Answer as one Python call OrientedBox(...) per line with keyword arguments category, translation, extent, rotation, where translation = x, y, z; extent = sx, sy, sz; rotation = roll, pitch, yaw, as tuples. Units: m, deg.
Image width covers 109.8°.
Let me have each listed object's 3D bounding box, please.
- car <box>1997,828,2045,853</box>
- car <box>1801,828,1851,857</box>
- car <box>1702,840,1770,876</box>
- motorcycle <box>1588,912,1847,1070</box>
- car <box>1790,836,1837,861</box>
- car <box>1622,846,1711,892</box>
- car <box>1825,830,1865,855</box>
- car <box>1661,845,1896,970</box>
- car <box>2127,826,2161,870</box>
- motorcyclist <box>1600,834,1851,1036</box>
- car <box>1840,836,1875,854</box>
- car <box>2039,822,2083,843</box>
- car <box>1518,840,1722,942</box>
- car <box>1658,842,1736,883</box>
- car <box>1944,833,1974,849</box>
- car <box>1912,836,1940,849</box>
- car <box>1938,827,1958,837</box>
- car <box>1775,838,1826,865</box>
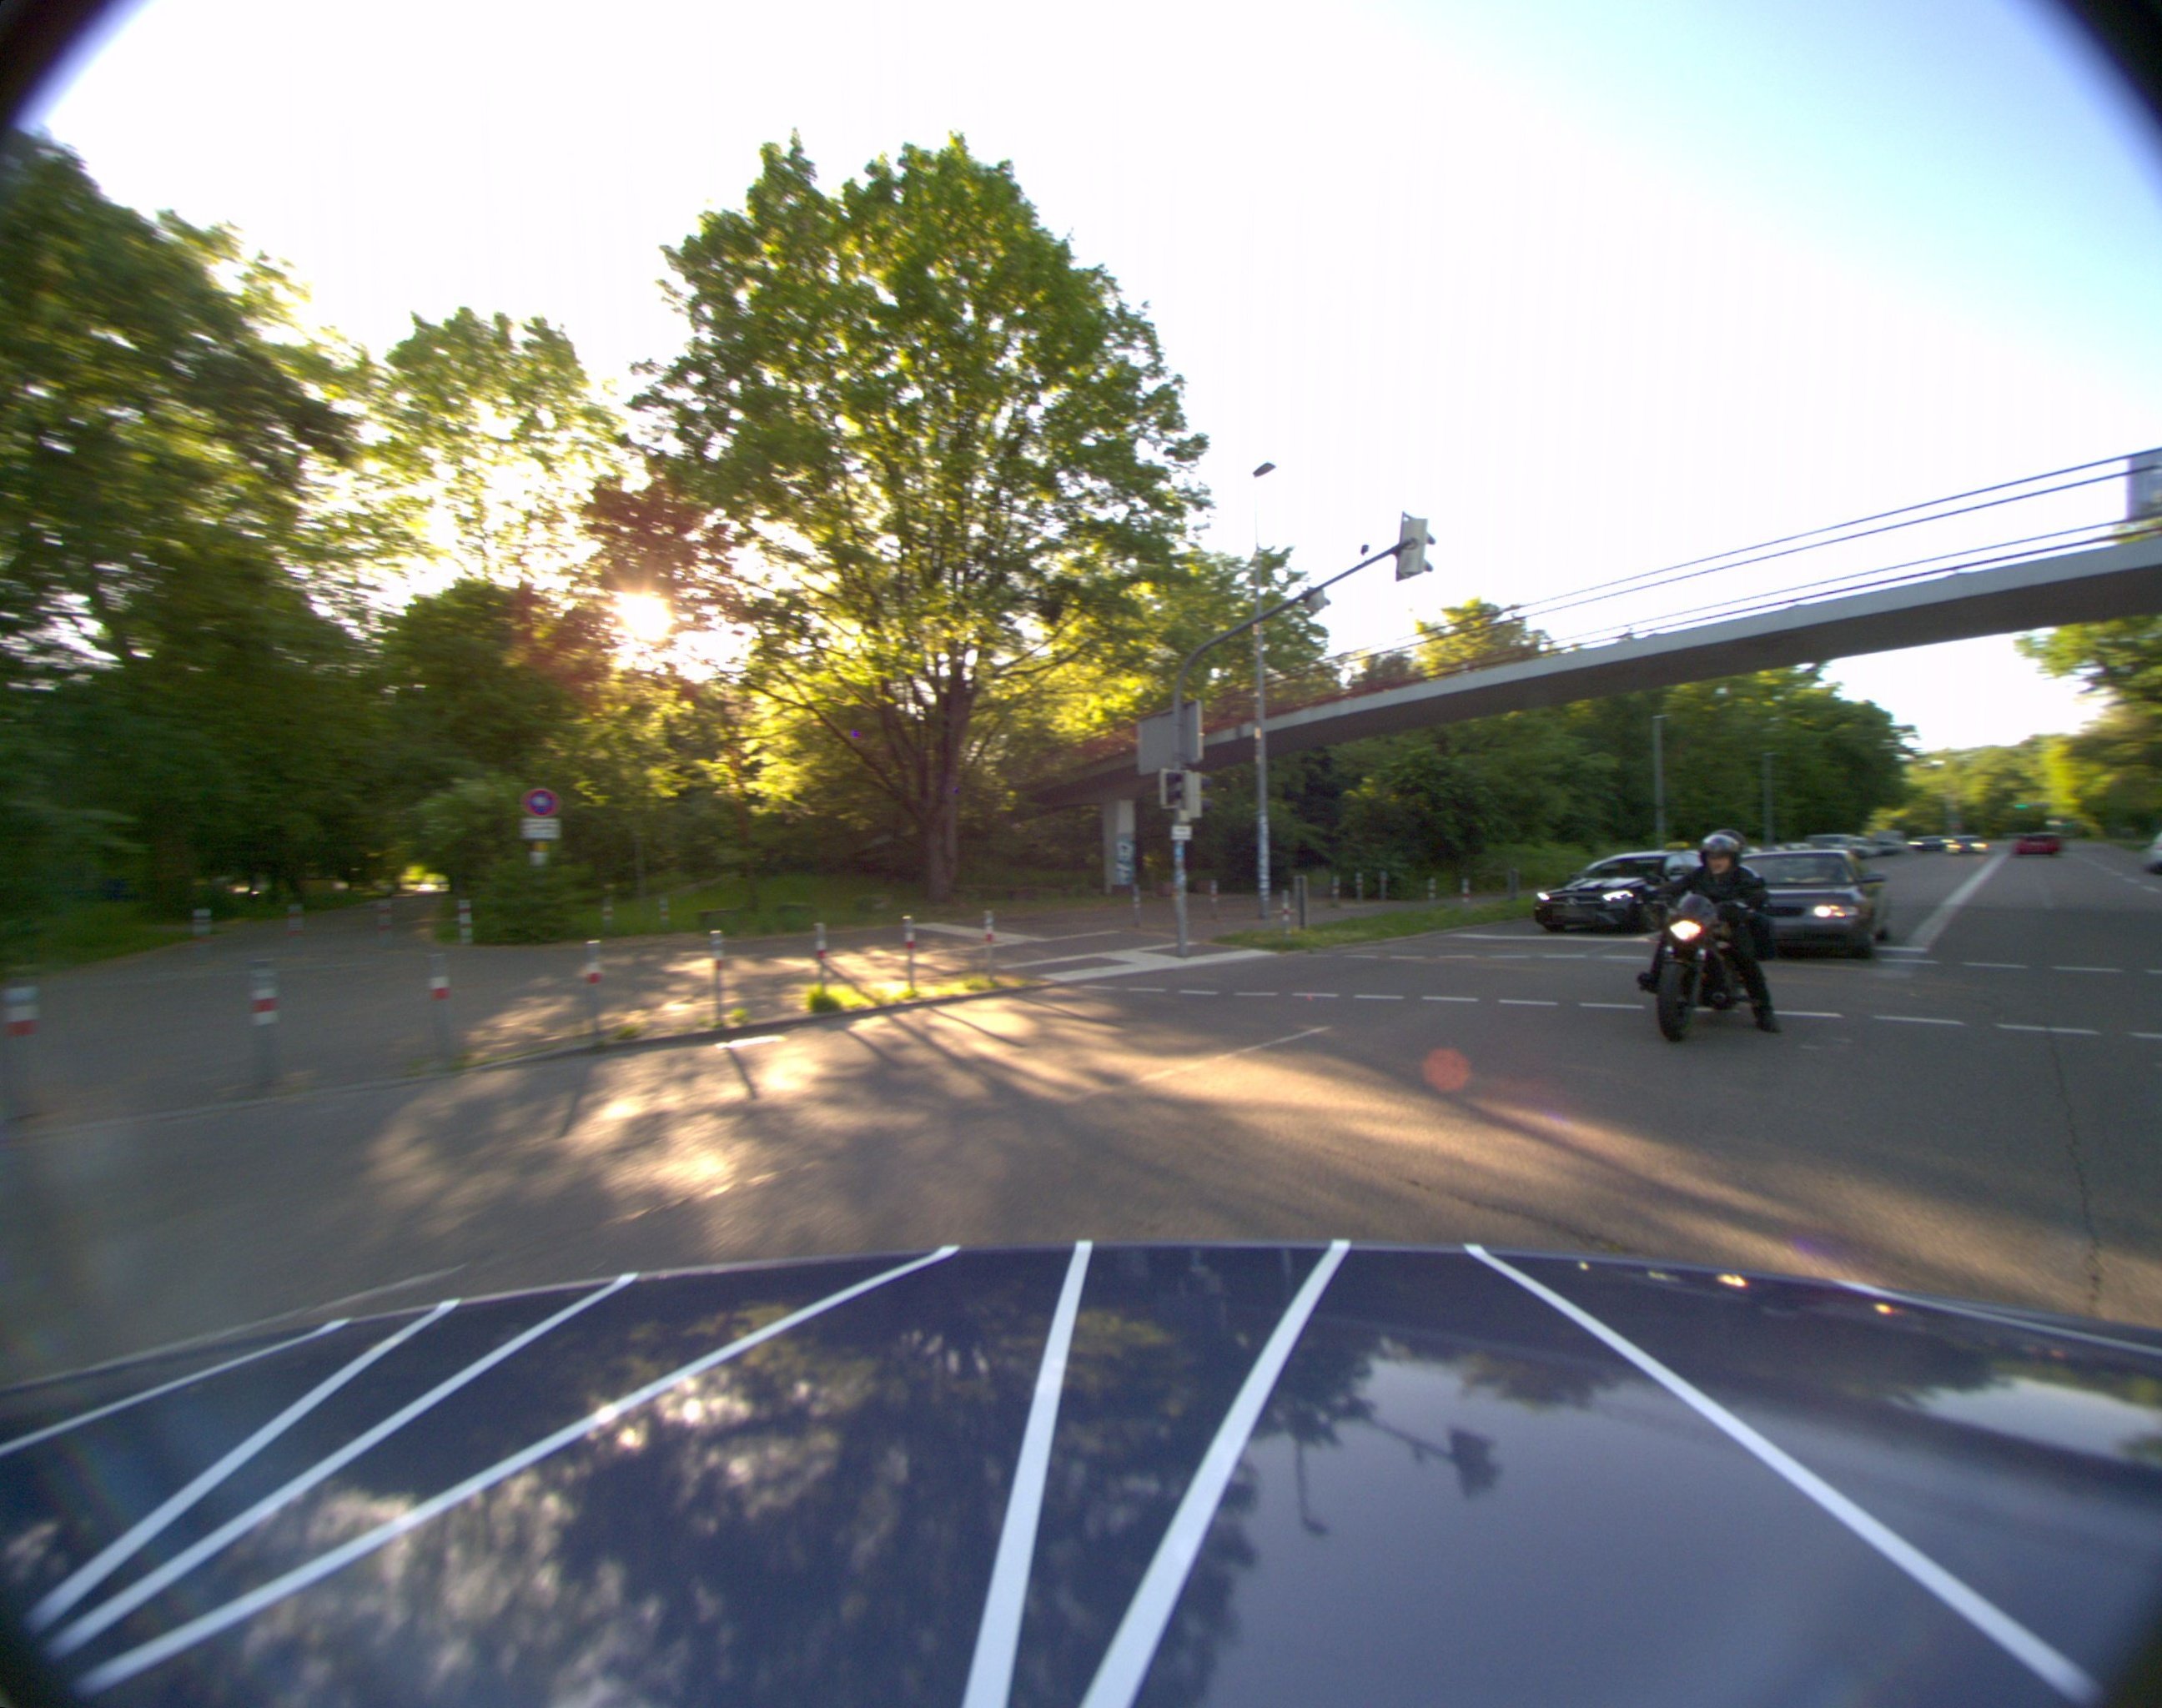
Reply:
OrientedBox(category="car", translation=(57.922, -0.858, 46.861), extent=(3.646, 1.448, 1.751), rotation=(-2, 2, -39))
OrientedBox(category="car", translation=(52.485, -0.837, 53.494), extent=(5.051, 1.964, 2.013), rotation=(-2, 1, -40))
OrientedBox(category="car", translation=(30.361, 0.166, 35.170), extent=(4.161, 1.499, 1.733), rotation=(-2, 1, -40))
OrientedBox(category="motorcycle", translation=(5.480, 1.063, 6.471), extent=(2.717, 0.907, 0.806), rotation=(-2, 0, -30))
OrientedBox(category="car", translation=(47.286, -0.382, 49.046), extent=(4.404, 1.499, 1.733), rotation=(-2, 1, -40))
OrientedBox(category="car", translation=(21.346, 0.520, 27.640), extent=(4.134, 1.499, 1.691), rotation=(-2, 0, -40))
OrientedBox(category="car", translation=(61.878, -0.924, 61.513), extent=(4.404, 1.964, 1.948), rotation=(-2, 1, -40))
OrientedBox(category="car", translation=(9.949, 0.646, 10.743), extent=(4.007, 1.381, 1.864), rotation=(-2, -1, -40))
OrientedBox(category="car", translation=(39.000, -0.243, 27.136), extent=(3.909, 1.515, 1.677), rotation=(-2, 2, -39))
OrientedBox(category="motorcyclist", translation=(5.467, 0.593, 6.462), extent=(1.569, 1.419, 1.136), rotation=(-4, 2, -30))
OrientedBox(category="car", translation=(70.391, -0.806, 68.875), extent=(4.404, 1.537, 1.890), rotation=(-2, 1, -40))
OrientedBox(category="car", translation=(77.007, -1.701, 59.769), extent=(4.656, 1.497, 1.962), rotation=(-2, 0, -40))
OrientedBox(category="car", translation=(11.149, 0.608, 15.493), extent=(5.898, 1.625, 1.995), rotation=(-2, 0, -41))
OrientedBox(category="car", translation=(24.980, 0.298, 30.757), extent=(3.983, 1.499, 1.717), rotation=(-2, 1, -40))
OrientedBox(category="car", translation=(69.243, -1.033, 59.907), extent=(4.007, 1.237, 1.462), rotation=(-2, 0, -40))
OrientedBox(category="car", translation=(85.960, -1.171, 77.271), extent=(4.007, 1.237, 1.733), rotation=(-2, 0, -40))
OrientedBox(category="car", translation=(130.859, -3.368, 114.685), extent=(4.404, 1.491, 1.890), rotation=(-2, 1, -40))
OrientedBox(category="car", translation=(43.145, -0.153, 45.547), extent=(4.404, 1.499, 1.733), rotation=(-2, 1, -40))
